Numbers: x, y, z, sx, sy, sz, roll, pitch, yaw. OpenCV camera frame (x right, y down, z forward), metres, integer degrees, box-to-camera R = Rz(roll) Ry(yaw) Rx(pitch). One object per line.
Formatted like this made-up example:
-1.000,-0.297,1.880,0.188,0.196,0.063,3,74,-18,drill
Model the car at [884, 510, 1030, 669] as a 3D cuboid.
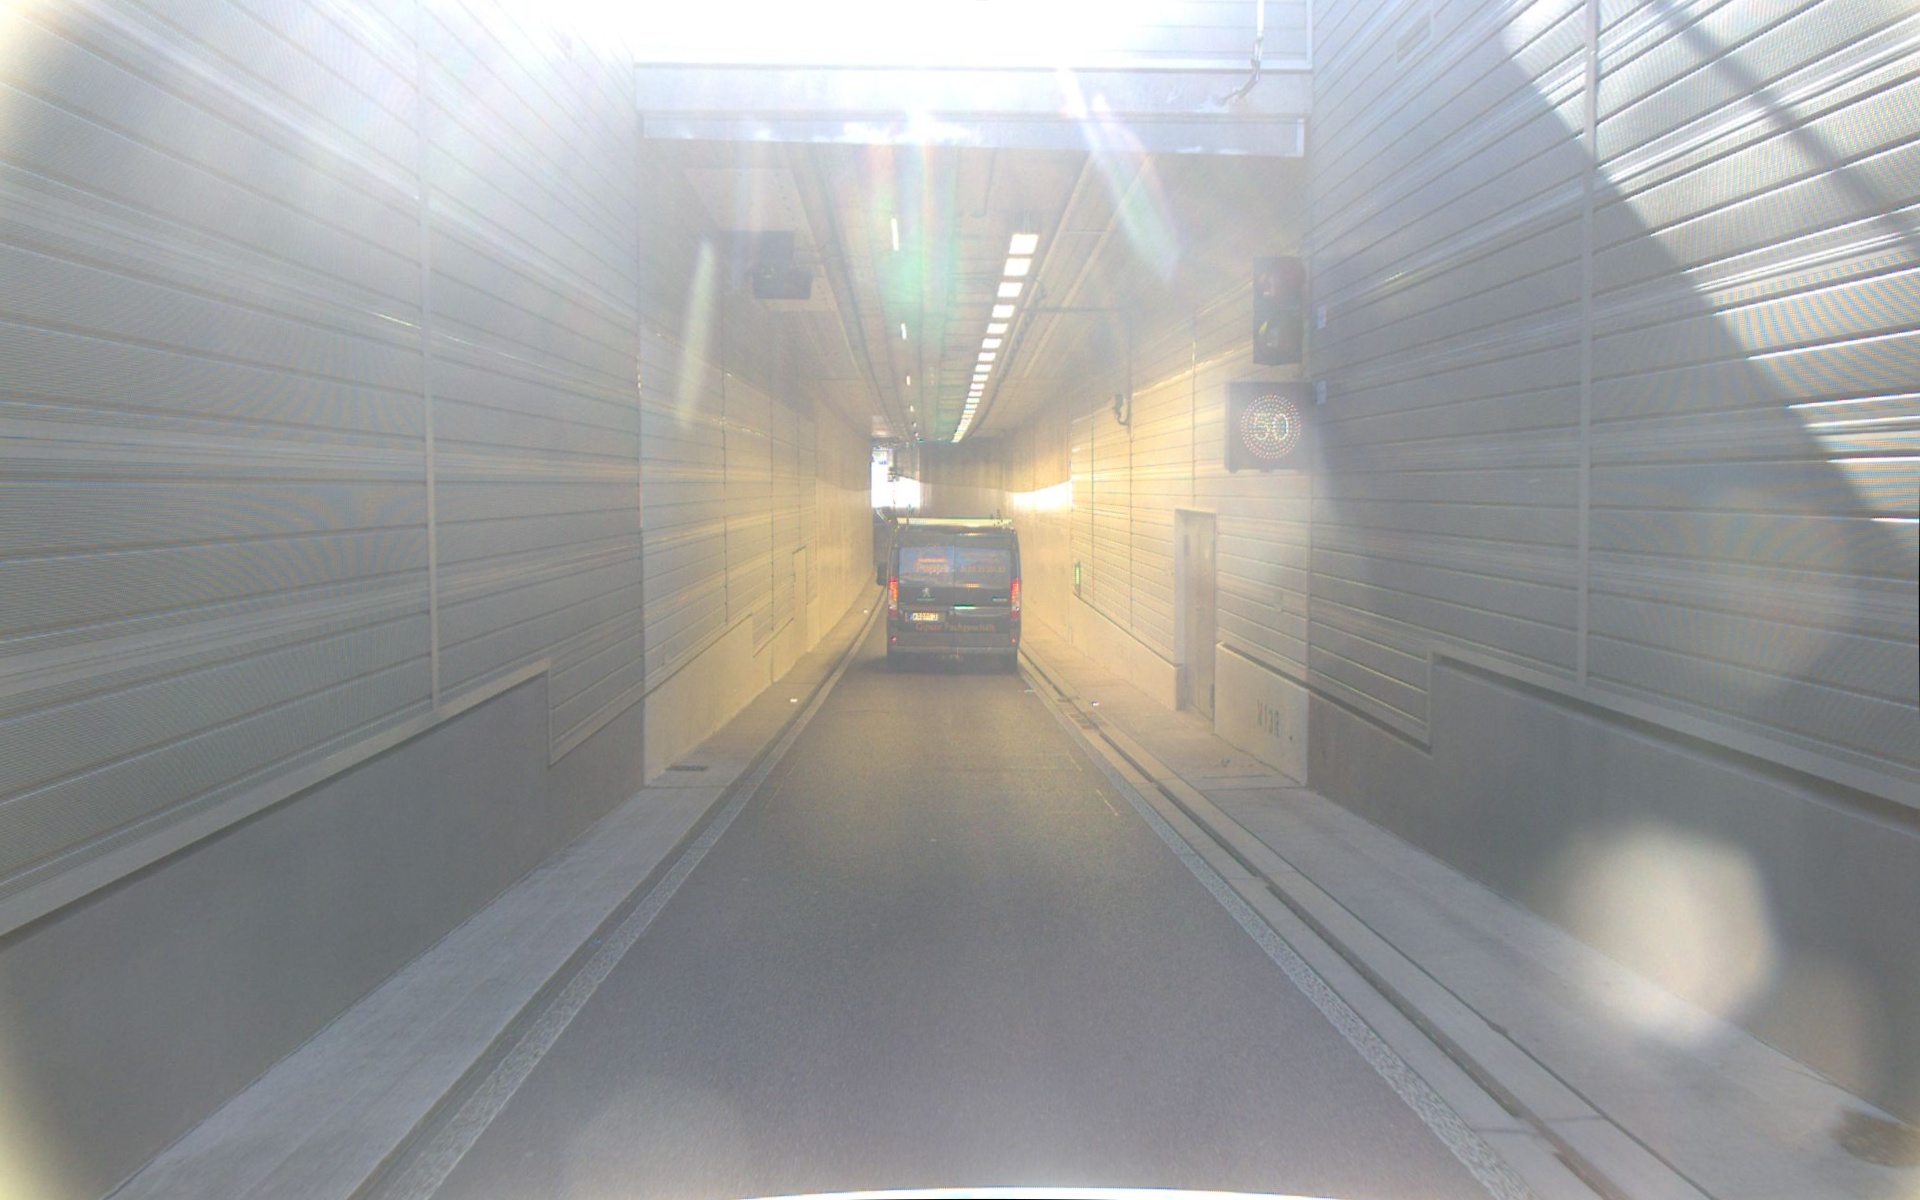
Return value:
-0.078,-0.248,26.335,2.114,2.305,4.637,0,2,-1,car
